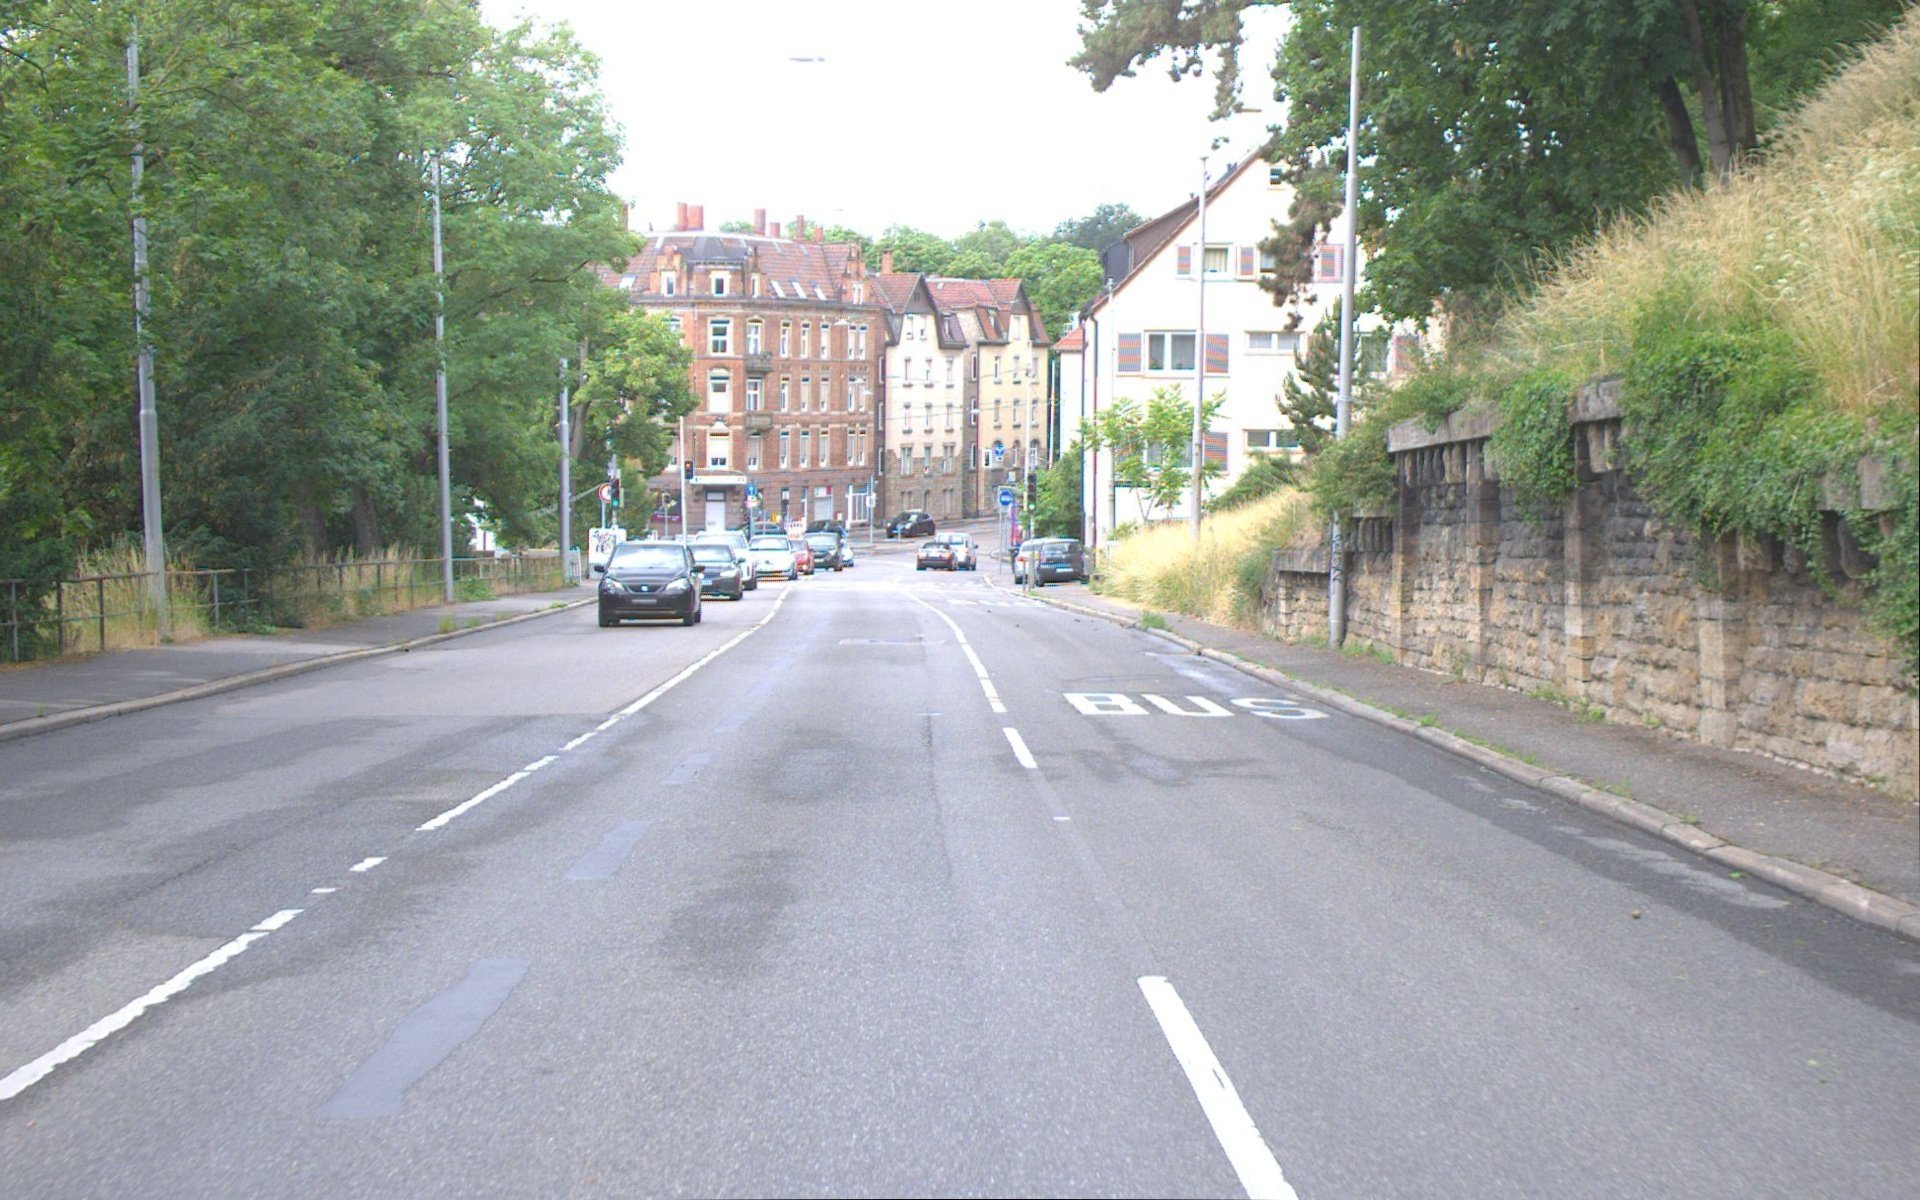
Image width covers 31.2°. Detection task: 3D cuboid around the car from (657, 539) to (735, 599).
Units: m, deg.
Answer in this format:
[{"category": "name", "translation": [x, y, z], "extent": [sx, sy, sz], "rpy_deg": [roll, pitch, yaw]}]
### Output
[{"category": "car", "translation": [-6.445, -0.782, 84.236], "extent": [1.712, 1.422, 4.139], "rpy_deg": [-1, 1, -2]}]

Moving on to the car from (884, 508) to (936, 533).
[{"category": "car", "translation": [-3.282, -5.209, 225.063], "extent": [1.984, 1.569, 4.371], "rpy_deg": [-1, 1, 19]}]

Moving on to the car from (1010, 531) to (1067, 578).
[{"category": "car", "translation": [2.703, -1.566, 117.209], "extent": [1.794, 1.446, 4.718], "rpy_deg": [-3, 2, 2]}]

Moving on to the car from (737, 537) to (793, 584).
[{"category": "car", "translation": [-6.749, -1.393, 119.394], "extent": [1.783, 1.569, 4.281], "rpy_deg": [-1, 1, -2]}]

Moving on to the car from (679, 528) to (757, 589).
[{"category": "car", "translation": [-6.973, -1.220, 99.565], "extent": [1.995, 1.677, 4.664], "rpy_deg": [-1, 1, -1]}]

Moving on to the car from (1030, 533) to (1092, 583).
[{"category": "car", "translation": [3.172, -1.316, 108.442], "extent": [1.681, 1.446, 4.000], "rpy_deg": [-4, 0, -1]}]

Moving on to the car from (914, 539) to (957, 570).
[{"category": "car", "translation": [-1.173, -2.241, 168.763], "extent": [1.816, 1.425, 4.000], "rpy_deg": [2, 1, 3]}]

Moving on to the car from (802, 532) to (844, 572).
[{"category": "car", "translation": [-6.194, -2.173, 155.620], "extent": [1.783, 1.740, 4.429], "rpy_deg": [-1, 1, -1]}]

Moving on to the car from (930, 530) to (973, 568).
[{"category": "car", "translation": [-0.410, -2.592, 175.506], "extent": [1.909, 1.877, 4.000], "rpy_deg": [2, 1, 3]}]

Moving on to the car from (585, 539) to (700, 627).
[{"category": "car", "translation": [-5.442, -0.324, 59.224], "extent": [1.669, 1.442, 3.688], "rpy_deg": [-1, 1, -1]}]

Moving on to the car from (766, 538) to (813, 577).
[{"category": "car", "translation": [-6.729, -1.687, 136.003], "extent": [1.783, 1.454, 4.429], "rpy_deg": [-1, 1, -2]}]
